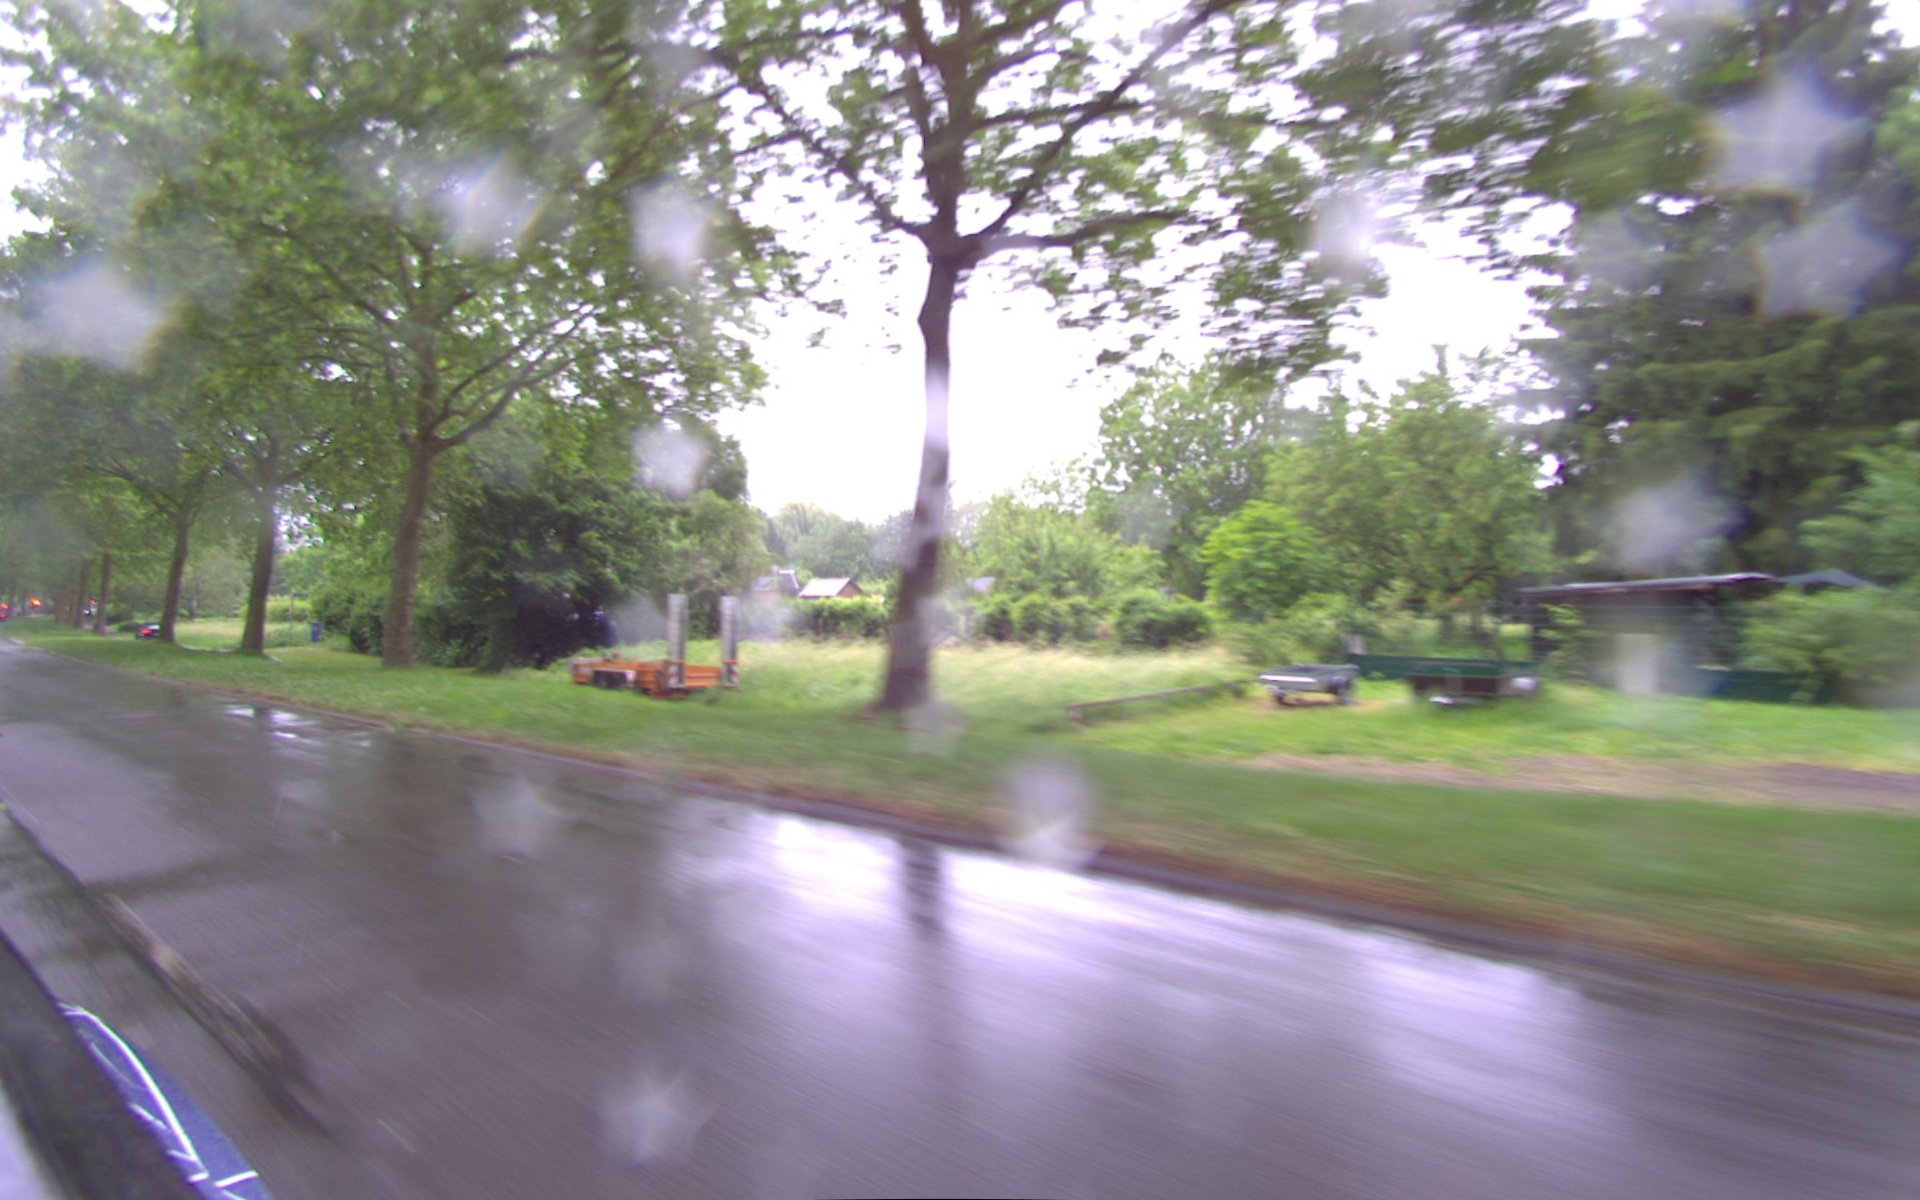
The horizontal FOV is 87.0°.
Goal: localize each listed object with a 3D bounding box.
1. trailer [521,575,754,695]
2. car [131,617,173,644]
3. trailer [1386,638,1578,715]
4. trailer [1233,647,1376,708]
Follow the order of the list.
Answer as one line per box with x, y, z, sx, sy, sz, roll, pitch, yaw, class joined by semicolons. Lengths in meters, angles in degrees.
-8.393;0.788;25.893;6.652;2.684;2.767;0;0;43;trailer
-53.953;2.002;67.633;1.868;1.695;4.010;-1;0;-34;car
9.984;1.364;19.209;2.380;1.040;4.273;0;1;40;trailer
7.097;1.535;20.750;1.768;0.951;3.043;0;0;41;trailer
